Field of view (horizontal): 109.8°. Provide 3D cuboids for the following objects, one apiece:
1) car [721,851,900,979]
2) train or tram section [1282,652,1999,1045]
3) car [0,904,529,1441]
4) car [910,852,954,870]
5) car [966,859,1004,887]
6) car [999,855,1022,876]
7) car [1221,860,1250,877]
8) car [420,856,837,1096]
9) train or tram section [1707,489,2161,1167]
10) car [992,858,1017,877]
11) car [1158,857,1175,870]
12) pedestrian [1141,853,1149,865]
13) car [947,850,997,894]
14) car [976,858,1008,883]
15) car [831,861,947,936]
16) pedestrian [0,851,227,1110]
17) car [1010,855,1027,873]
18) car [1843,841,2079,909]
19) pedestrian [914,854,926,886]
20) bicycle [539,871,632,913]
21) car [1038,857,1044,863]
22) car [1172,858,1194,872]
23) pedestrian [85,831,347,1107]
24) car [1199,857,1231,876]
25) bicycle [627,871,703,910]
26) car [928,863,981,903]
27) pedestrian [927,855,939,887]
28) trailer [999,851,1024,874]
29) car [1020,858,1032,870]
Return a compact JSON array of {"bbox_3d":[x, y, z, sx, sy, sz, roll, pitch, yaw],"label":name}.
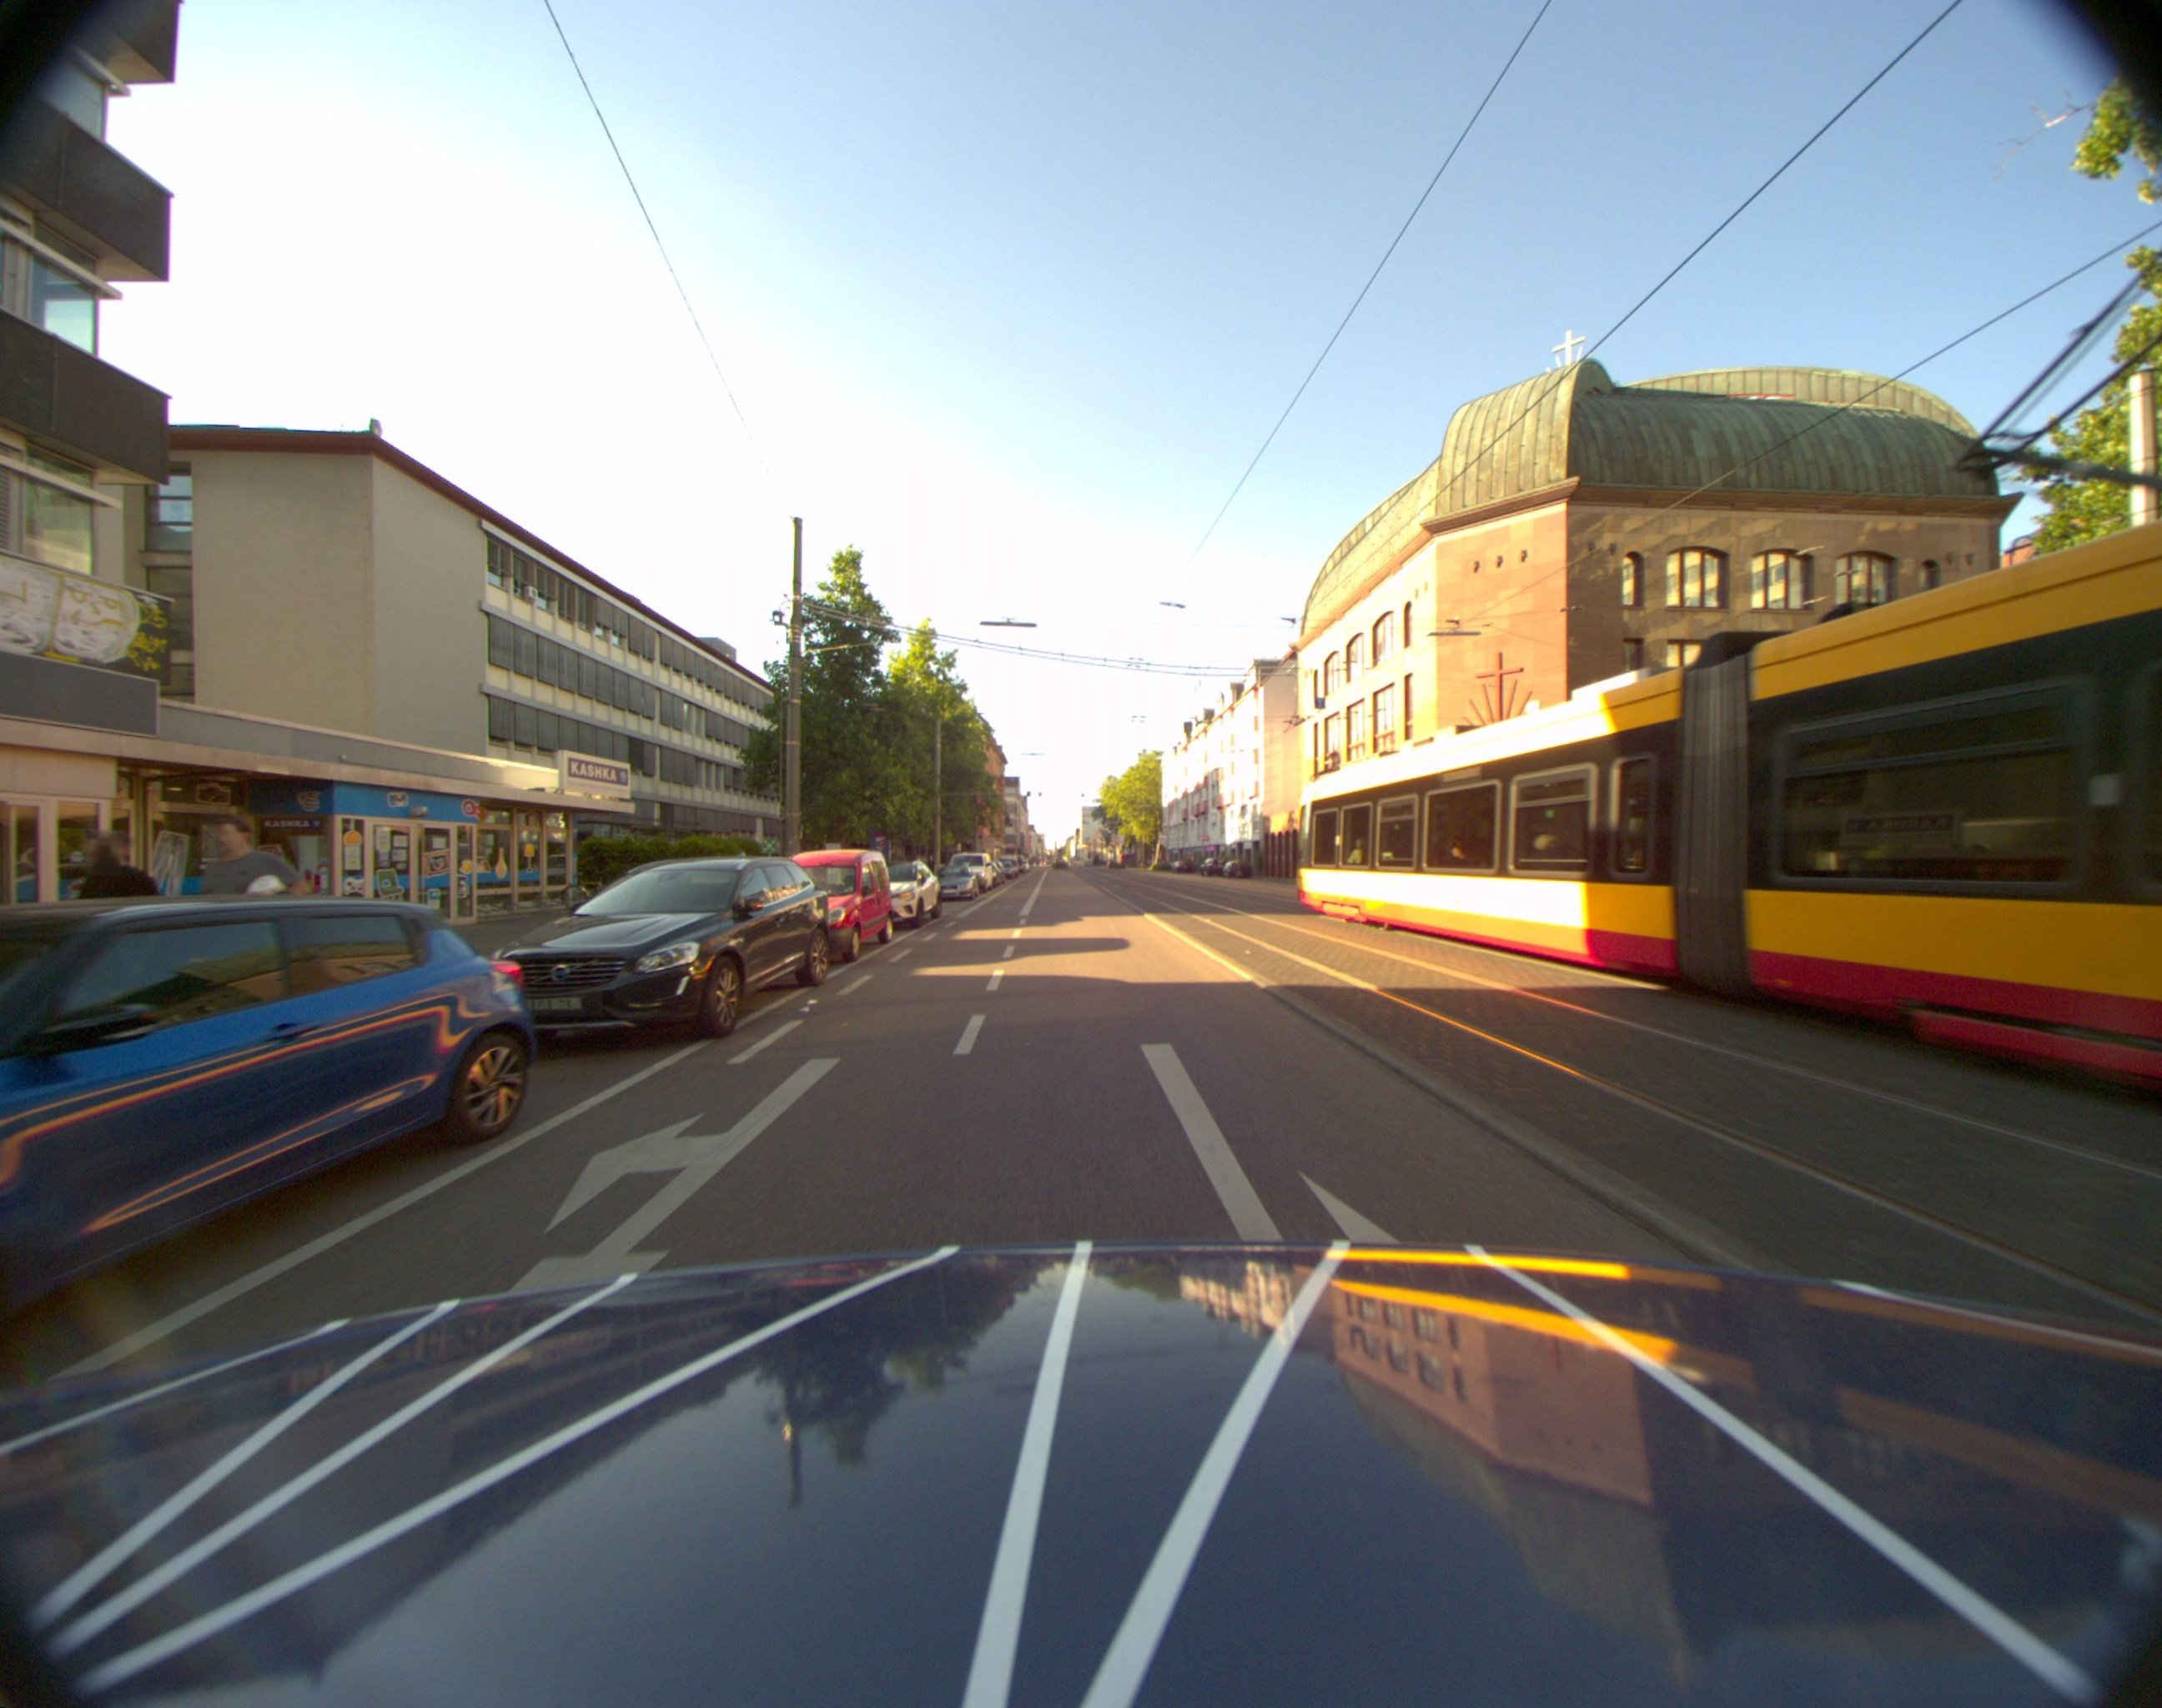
[{"bbox_3d":[-4.386,0.880,13.045,1.680,1.797,4.247,-1,0,-3],"label":"car"},{"bbox_3d":[6.719,-0.047,13.096,2.766,3.530,12.464,0,0,-2],"label":"train or tram section"},{"bbox_3d":[-4.171,1.082,2.767,1.642,1.484,3.794,-2,0,-3],"label":"car"},{"bbox_3d":[-15.621,0.698,79.651,4.369,1.662,1.588,2,0,-6],"label":"car"},{"bbox_3d":[-5.502,1.064,43.935,1.688,1.484,3.910,-2,1,-1],"label":"car"},{"bbox_3d":[-6.234,0.964,67.397,1.784,1.735,4.473,-1,0,-3],"label":"car"},{"bbox_3d":[13.196,1.249,65.167,1.646,1.392,3.682,-1,0,-1],"label":"car"},{"bbox_3d":[-4.162,0.936,8.046,1.825,1.747,4.473,-1,1,-2],"label":"car"},{"bbox_3d":[7.069,-0.124,1.167,2.683,3.530,11.124,0,0,-2],"label":"train or tram section"},{"bbox_3d":[-6.160,1.088,61.479,1.784,1.420,4.211,-1,0,-2],"label":"car"},{"bbox_3d":[11.995,1.333,106.643,1.931,1.787,4.384,0,0,1],"label":"car"},{"bbox_3d":[9.888,0.805,117.859,1.096,1.768,1.253,1,0,3],"label":"pedestrian"},{"bbox_3d":[-5.344,0.836,37.904,1.882,2.009,4.904,-1,0,-2],"label":"car"},{"bbox_3d":[-5.668,1.038,48.727,1.597,1.485,3.901,-1,0,0],"label":"car"},{"bbox_3d":[-4.629,1.009,18.977,1.791,1.586,4.326,-2,0,-1],"label":"car"},{"bbox_3d":[-7.341,0.859,5.652,0.813,1.746,1.033,0,0,-2],"label":"pedestrian"},{"bbox_3d":[-6.820,1.075,83.217,1.697,1.832,4.694,-1,0,-2],"label":"car"},{"bbox_3d":[27.120,0.596,23.533,4.993,1.957,2.130,0,3,-4],"label":"car"},{"bbox_3d":[-8.533,0.847,40.358,0.494,1.703,0.437,2,0,-2],"label":"pedestrian"},{"bbox_3d":[-13.381,1.035,20.560,2.020,1.089,0.637,1,0,-9],"label":"bicycle"},{"bbox_3d":[-10.634,1.559,203.385,1.420,1.612,3.626,-1,0,-2],"label":"car"},{"bbox_3d":[12.158,1.295,90.886,1.829,1.500,4.560,-1,0,-2],"label":"car"},{"bbox_3d":[-6.425,0.791,5.724,0.796,1.888,1.033,0,0,-2],"label":"pedestrian"},{"bbox_3d":[12.617,1.127,71.841,1.964,1.690,4.559,-1,0,-4],"label":"car"},{"bbox_3d":[-11.824,1.037,21.625,1.886,1.090,0.469,0,1,-4],"label":"bicycle"},{"bbox_3d":[-5.118,1.124,31.255,1.679,1.396,4.165,-2,1,-3],"label":"car"},{"bbox_3d":[-7.847,0.897,40.344,0.494,1.703,0.437,2,0,-2],"label":"pedestrian"},{"bbox_3d":[-6.531,0.788,72.236,1.784,2.136,5.315,-1,0,0],"label":"trailer"},{"bbox_3d":[-6.882,1.180,95.141,1.420,1.425,3.871,-1,0,-2],"label":"car"}]
